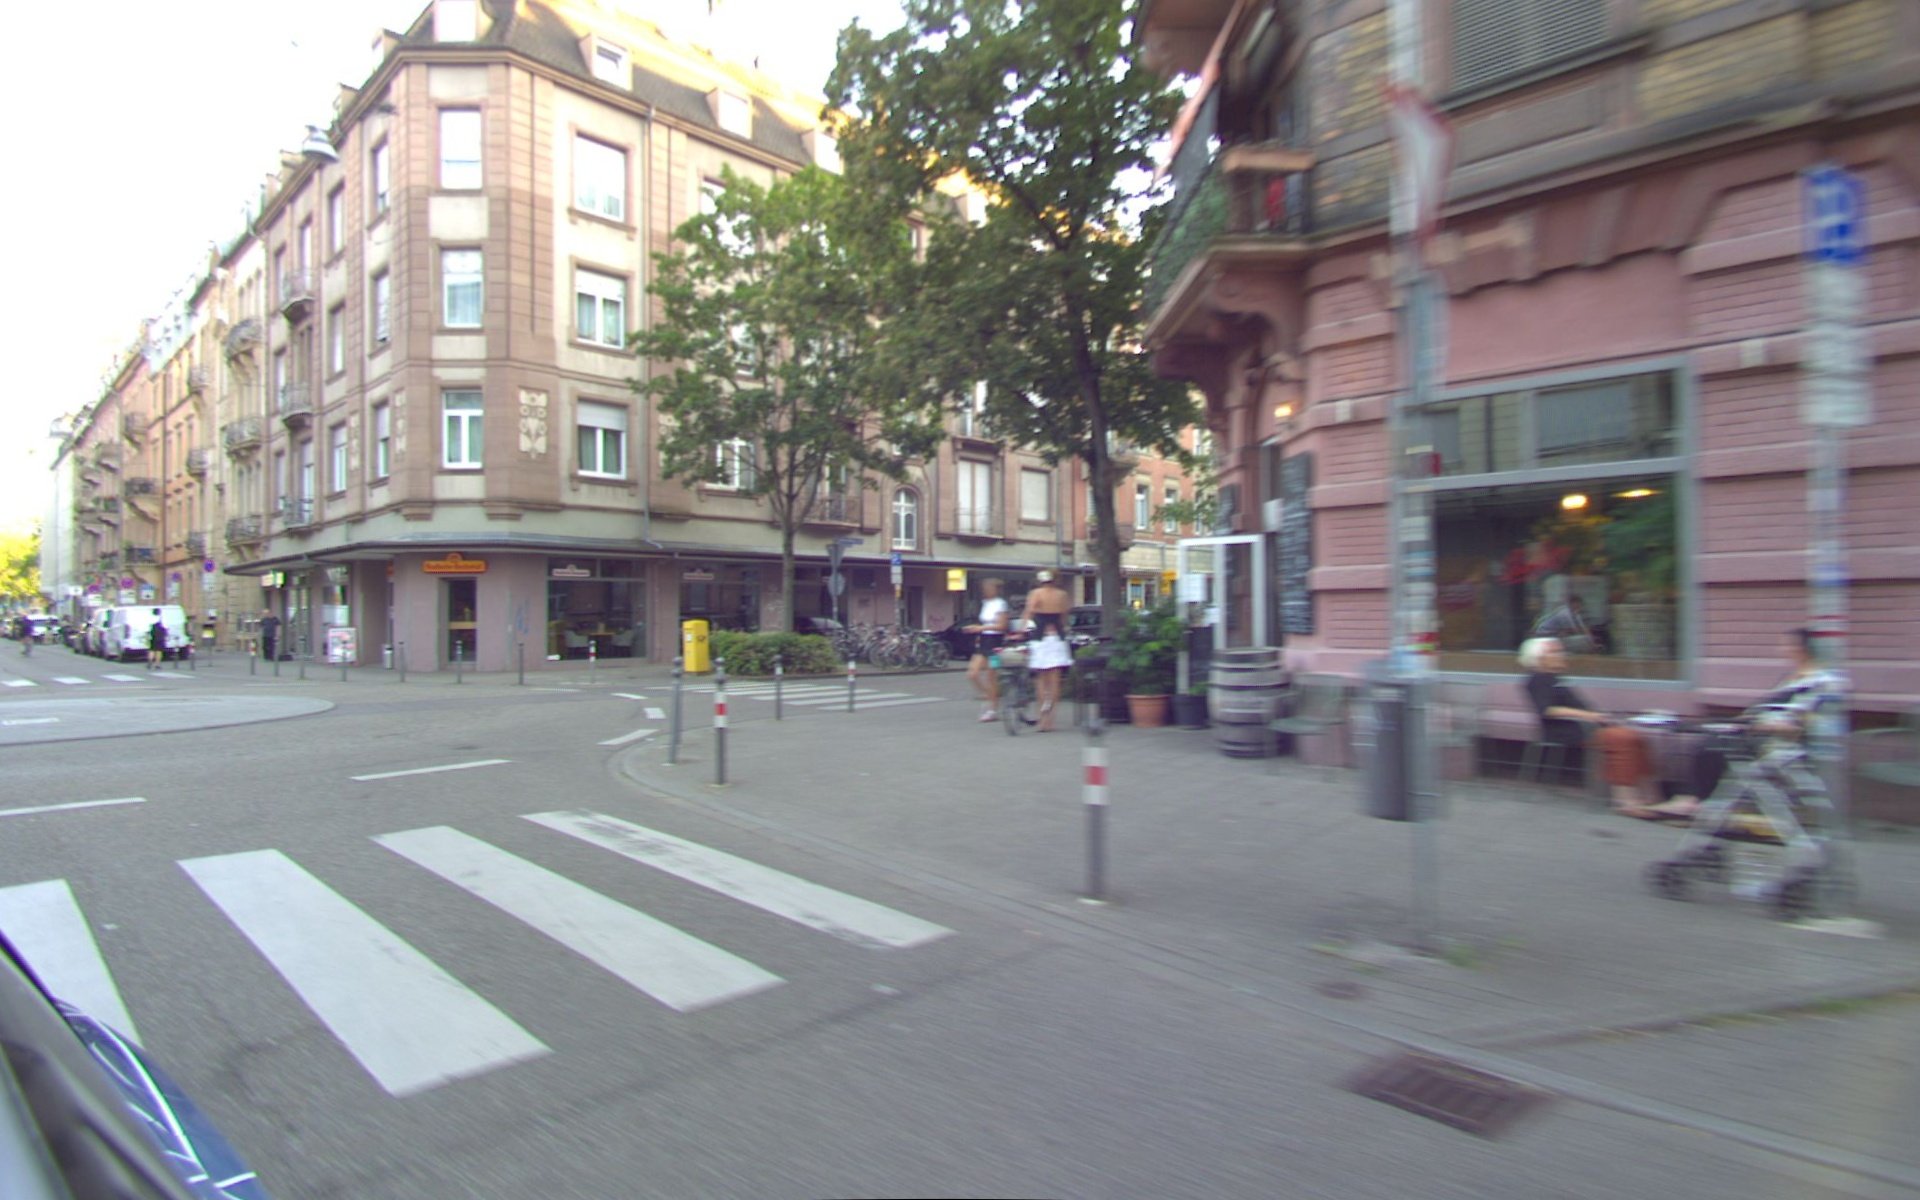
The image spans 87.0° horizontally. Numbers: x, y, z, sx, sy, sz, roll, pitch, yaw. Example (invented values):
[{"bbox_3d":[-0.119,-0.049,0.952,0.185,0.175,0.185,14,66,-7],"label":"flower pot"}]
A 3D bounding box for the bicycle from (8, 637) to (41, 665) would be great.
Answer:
[{"bbox_3d":[-39.909,2.162,43.175,1.973,1.139,0.745,-2,-2,39],"label":"bicycle"}]

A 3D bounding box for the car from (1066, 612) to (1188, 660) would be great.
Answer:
[{"bbox_3d":[5.972,1.265,36.505,4.001,1.586,1.881,0,-1,44],"label":"car"}]

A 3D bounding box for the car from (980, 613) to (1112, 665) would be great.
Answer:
[{"bbox_3d":[2.745,1.233,32.942,4.000,1.522,1.826,0,-1,43],"label":"car"}]

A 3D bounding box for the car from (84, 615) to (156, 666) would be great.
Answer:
[{"bbox_3d":[-34.060,1.606,40.982,1.853,1.918,4.328,0,-1,-45],"label":"car"}]

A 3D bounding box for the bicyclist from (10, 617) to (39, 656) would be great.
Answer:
[{"bbox_3d":[-39.924,1.550,43.187,1.199,1.653,0.745,-2,-2,38],"label":"bicyclist"}]

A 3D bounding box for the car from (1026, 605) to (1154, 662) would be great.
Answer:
[{"bbox_3d":[4.455,1.116,34.972,4.001,1.852,1.971,0,-1,44],"label":"car"}]

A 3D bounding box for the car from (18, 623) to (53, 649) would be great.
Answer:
[{"bbox_3d":[-66.076,2.546,72.372,1.813,1.654,3.929,0,0,-43],"label":"car"}]

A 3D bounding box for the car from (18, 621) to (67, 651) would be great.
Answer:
[{"bbox_3d":[-58.838,2.278,64.886,4.542,1.835,2.111,-1,-1,45],"label":"car"}]

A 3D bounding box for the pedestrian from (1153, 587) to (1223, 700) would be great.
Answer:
[{"bbox_3d":[3.777,0.712,16.737,0.758,1.805,0.776,-5,-3,42],"label":"pedestrian"}]

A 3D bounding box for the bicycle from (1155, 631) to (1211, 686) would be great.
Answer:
[{"bbox_3d":[5.013,1.296,22.706,0.584,1.166,1.787,-3,-2,33],"label":"bicycle"}]

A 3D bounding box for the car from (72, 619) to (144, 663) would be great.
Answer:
[{"bbox_3d":[-38.161,1.781,45.299,2.111,1.835,4.543,0,-1,-45],"label":"car"}]

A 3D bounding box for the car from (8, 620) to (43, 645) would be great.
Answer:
[{"bbox_3d":[-72.629,2.482,78.705,1.970,1.752,4.005,0,0,-43],"label":"car"}]

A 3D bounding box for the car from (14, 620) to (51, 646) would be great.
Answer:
[{"bbox_3d":[-68.954,2.425,75.271,1.970,1.752,4.005,0,0,-43],"label":"car"}]

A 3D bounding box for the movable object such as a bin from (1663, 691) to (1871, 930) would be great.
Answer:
[{"bbox_3d":[3.849,0.945,4.840,0.729,0.922,0.753,0,0,41],"label":"movable object such as a bin"}]

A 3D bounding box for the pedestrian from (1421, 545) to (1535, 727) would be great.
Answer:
[{"bbox_3d":[5.173,0.350,10.137,0.648,1.709,0.665,-4,0,-2],"label":"pedestrian"}]

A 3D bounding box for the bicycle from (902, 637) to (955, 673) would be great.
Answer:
[{"bbox_3d":[-0.850,1.474,27.253,1.467,0.902,0.477,0,0,-42],"label":"bicycle"}]

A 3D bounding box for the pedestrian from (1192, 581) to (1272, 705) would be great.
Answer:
[{"bbox_3d":[4.195,0.656,15.624,0.875,1.842,0.759,0,-3,-44],"label":"pedestrian"}]

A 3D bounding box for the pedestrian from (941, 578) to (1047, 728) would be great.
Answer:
[{"bbox_3d":[0.432,0.654,12.883,1.033,1.825,0.757,-1,-3,-40],"label":"pedestrian"}]

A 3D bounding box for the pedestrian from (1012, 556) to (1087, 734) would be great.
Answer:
[{"bbox_3d":[0.983,0.488,11.311,0.715,1.869,1.021,-3,-2,4],"label":"pedestrian"}]

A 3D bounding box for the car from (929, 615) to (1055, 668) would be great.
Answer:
[{"bbox_3d":[0.949,1.236,31.132,3.688,1.488,1.697,0,-1,44],"label":"car"}]

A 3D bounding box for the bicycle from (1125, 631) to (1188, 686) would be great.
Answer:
[{"bbox_3d":[4.511,1.327,23.175,0.704,1.185,1.930,-3,-2,33],"label":"bicycle"}]

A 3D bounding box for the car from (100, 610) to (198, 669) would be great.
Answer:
[{"bbox_3d":[-29.556,1.382,36.812,4.769,1.973,2.112,-1,0,43],"label":"car"}]

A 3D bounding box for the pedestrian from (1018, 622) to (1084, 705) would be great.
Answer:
[{"bbox_3d":[1.501,1.045,16.641,0.735,1.315,0.782,-5,-4,39],"label":"pedestrian"}]

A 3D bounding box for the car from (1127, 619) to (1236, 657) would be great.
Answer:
[{"bbox_3d":[8.529,1.433,39.158,3.813,1.322,1.696,0,-1,44],"label":"car"}]

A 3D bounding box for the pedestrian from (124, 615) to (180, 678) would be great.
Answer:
[{"bbox_3d":[-23.450,1.321,29.388,0.737,1.757,1.215,-1,0,-9],"label":"pedestrian"}]

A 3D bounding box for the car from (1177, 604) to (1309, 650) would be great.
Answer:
[{"bbox_3d":[11.957,1.102,43.026,2.085,1.844,5.114,2,-1,-43],"label":"car"}]

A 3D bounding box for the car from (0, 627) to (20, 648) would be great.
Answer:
[{"bbox_3d":[-87.652,3.431,92.983,1.881,1.752,3.854,0,0,-43],"label":"car"}]

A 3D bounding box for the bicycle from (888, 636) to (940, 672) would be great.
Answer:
[{"bbox_3d":[-1.250,1.464,27.761,1.467,0.902,0.477,0,0,-42],"label":"bicycle"}]

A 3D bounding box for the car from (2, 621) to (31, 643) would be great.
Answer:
[{"bbox_3d":[-83.304,2.817,89.385,1.841,1.752,3.804,0,0,-43],"label":"car"}]

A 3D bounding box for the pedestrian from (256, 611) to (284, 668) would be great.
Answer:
[{"bbox_3d":[-22.416,1.276,32.874,0.644,1.792,0.694,-1,-1,-28],"label":"pedestrian"}]

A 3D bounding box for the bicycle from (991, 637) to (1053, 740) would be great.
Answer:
[{"bbox_3d":[0.710,0.959,11.493,0.605,1.033,1.773,-3,-2,4],"label":"bicycle"}]

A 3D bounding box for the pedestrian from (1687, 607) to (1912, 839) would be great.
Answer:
[{"bbox_3d":[5.033,0.700,6.134,0.904,1.264,0.644,-2,1,29],"label":"pedestrian"}]

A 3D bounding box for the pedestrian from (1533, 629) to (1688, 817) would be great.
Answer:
[{"bbox_3d":[4.365,0.784,6.802,0.497,1.152,0.792,0,0,-44],"label":"pedestrian"}]
